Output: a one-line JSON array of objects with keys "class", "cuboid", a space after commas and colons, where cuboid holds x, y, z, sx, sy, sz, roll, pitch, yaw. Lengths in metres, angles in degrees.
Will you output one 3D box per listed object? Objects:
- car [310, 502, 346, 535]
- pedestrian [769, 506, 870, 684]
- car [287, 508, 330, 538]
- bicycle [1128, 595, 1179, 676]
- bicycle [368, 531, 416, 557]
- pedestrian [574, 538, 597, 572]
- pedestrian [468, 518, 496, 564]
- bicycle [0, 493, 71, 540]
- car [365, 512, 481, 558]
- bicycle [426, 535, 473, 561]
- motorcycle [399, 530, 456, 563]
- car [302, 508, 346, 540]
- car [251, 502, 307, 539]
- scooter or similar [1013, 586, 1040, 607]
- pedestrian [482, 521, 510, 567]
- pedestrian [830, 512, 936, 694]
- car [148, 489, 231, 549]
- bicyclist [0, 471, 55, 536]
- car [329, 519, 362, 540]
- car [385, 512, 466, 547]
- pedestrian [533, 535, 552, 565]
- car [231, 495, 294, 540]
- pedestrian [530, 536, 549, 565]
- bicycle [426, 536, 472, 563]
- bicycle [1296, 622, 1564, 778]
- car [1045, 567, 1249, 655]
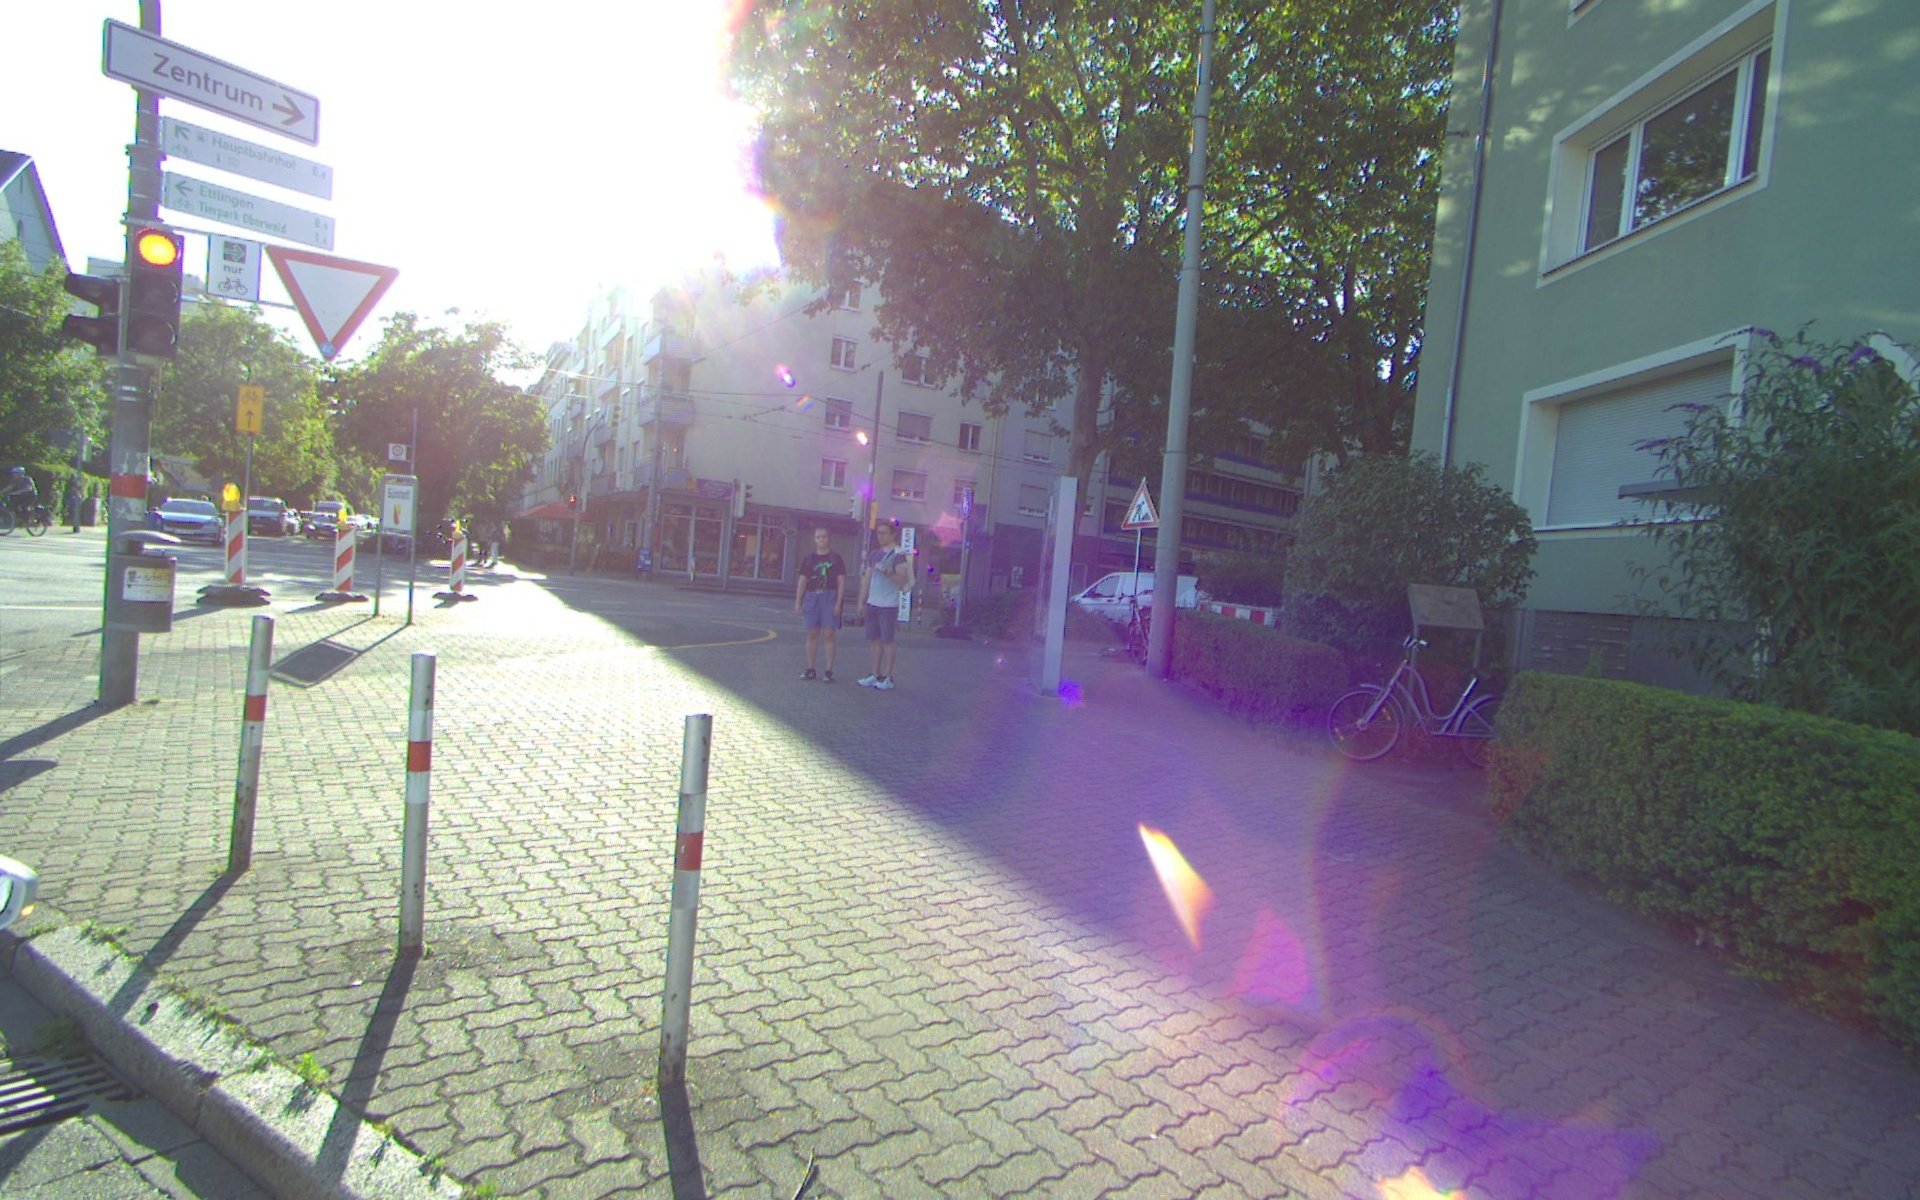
[{"class": "car", "cuboid": [-54.392, -6.986, 86.640, 2.336, 2.548, 5.265, 4, 2, -31]}, {"class": "pedestrian", "cuboid": [-1.480, -0.056, 10.728, 0.680, 1.774, 0.794, 6, 2, 13]}, {"class": "car", "cuboid": [-47.041, -5.584, 72.775, 2.336, 1.818, 5.265, 4, 2, -31]}, {"class": "bicycle", "cuboid": [2.861, 0.495, 15.007, 0.511, 1.071, 1.933, 6, 2, 7]}, {"class": "bicycle", "cuboid": [-23.705, -2.337, 42.019, 1.708, 0.945, 0.667, 5, 2, -29]}, {"class": "pedestrian", "cuboid": [-18.375, -2.199, 49.339, 0.806, 1.565, 0.905, 3, 3, -35]}, {"class": "pedestrian", "cuboid": [-19.390, -2.370, 40.789, 0.706, 1.774, 0.793, 5, 2, -7]}, {"class": "bicycle", "cuboid": [-24.267, -2.168, 26.084, 0.651, 1.083, 2.017, 5, 2, -3]}, {"class": "car", "cuboid": [-30.231, -3.586, 56.681, 5.576, 1.948, 2.343, 5, 0, -32]}, {"class": "bicycle", "cuboid": [-21.607, -2.193, 42.611, 1.708, 0.945, 0.557, 5, 2, -29]}, {"class": "motorcycle", "cuboid": [-21.645, -2.168, 40.887, 1.938, 1.124, 0.829, 4, 2, -34]}, {"class": "car", "cuboid": [-36.349, -4.333, 57.570, 1.878, 1.585, 4.356, 5, 2, -31]}, {"class": "car", "cuboid": [-40.165, -4.685, 59.464, 2.336, 1.818, 5.265, 4, 2, -31]}, {"class": "scooter or similar", "cuboid": [3.455, -0.197, 52.173, 1.421, 0.966, 0.462, 4, 3, -44]}, {"class": "pedestrian", "cuboid": [-18.584, -2.228, 40.329, 0.681, 1.774, 0.793, 5, 2, -7]}, {"class": "pedestrian", "cuboid": [-0.797, 0.026, 10.525, 0.680, 1.774, 0.794, 6, 2, 21]}, {"class": "car", "cuboid": [-24.761, -2.566, 32.362, 1.882, 1.503, 3.959, 9, -2, -38]}, {"class": "bicyclist", "cuboid": [-24.220, -2.476, 25.990, 0.685, 1.552, 1.036, 5, 2, -3]}, {"class": "car", "cuboid": [-61.534, -7.068, 100.812, 2.333, 1.818, 5.271, 5, 2, -28]}, {"class": "car", "cuboid": [-39.354, -5.157, 74.123, 5.050, 1.948, 2.344, 5, 0, -32]}, {"class": "pedestrian", "cuboid": [-20.825, -2.490, 50.208, 0.803, 1.381, 0.908, 4, 2, -23]}, {"class": "car", "cuboid": [-37.334, -4.402, 53.992, 2.336, 2.040, 5.265, 4, 2, -31]}, {"class": "pedestrian", "cuboid": [-21.464, -2.529, 51.364, 0.803, 1.381, 0.908, 4, 2, -23]}, {"class": "bicycle", "cuboid": [-21.977, -2.170, 43.282, 1.708, 0.945, 0.557, 5, 2, -29]}, {"class": "bicycle", "cuboid": [3.949, 0.823, 8.553, 1.897, 1.071, 0.521, 6, 2, 5]}, {"class": "car", "cuboid": [4.707, 0.224, 26.136, 1.913, 1.849, 5.185, 5, 0, -37]}]
